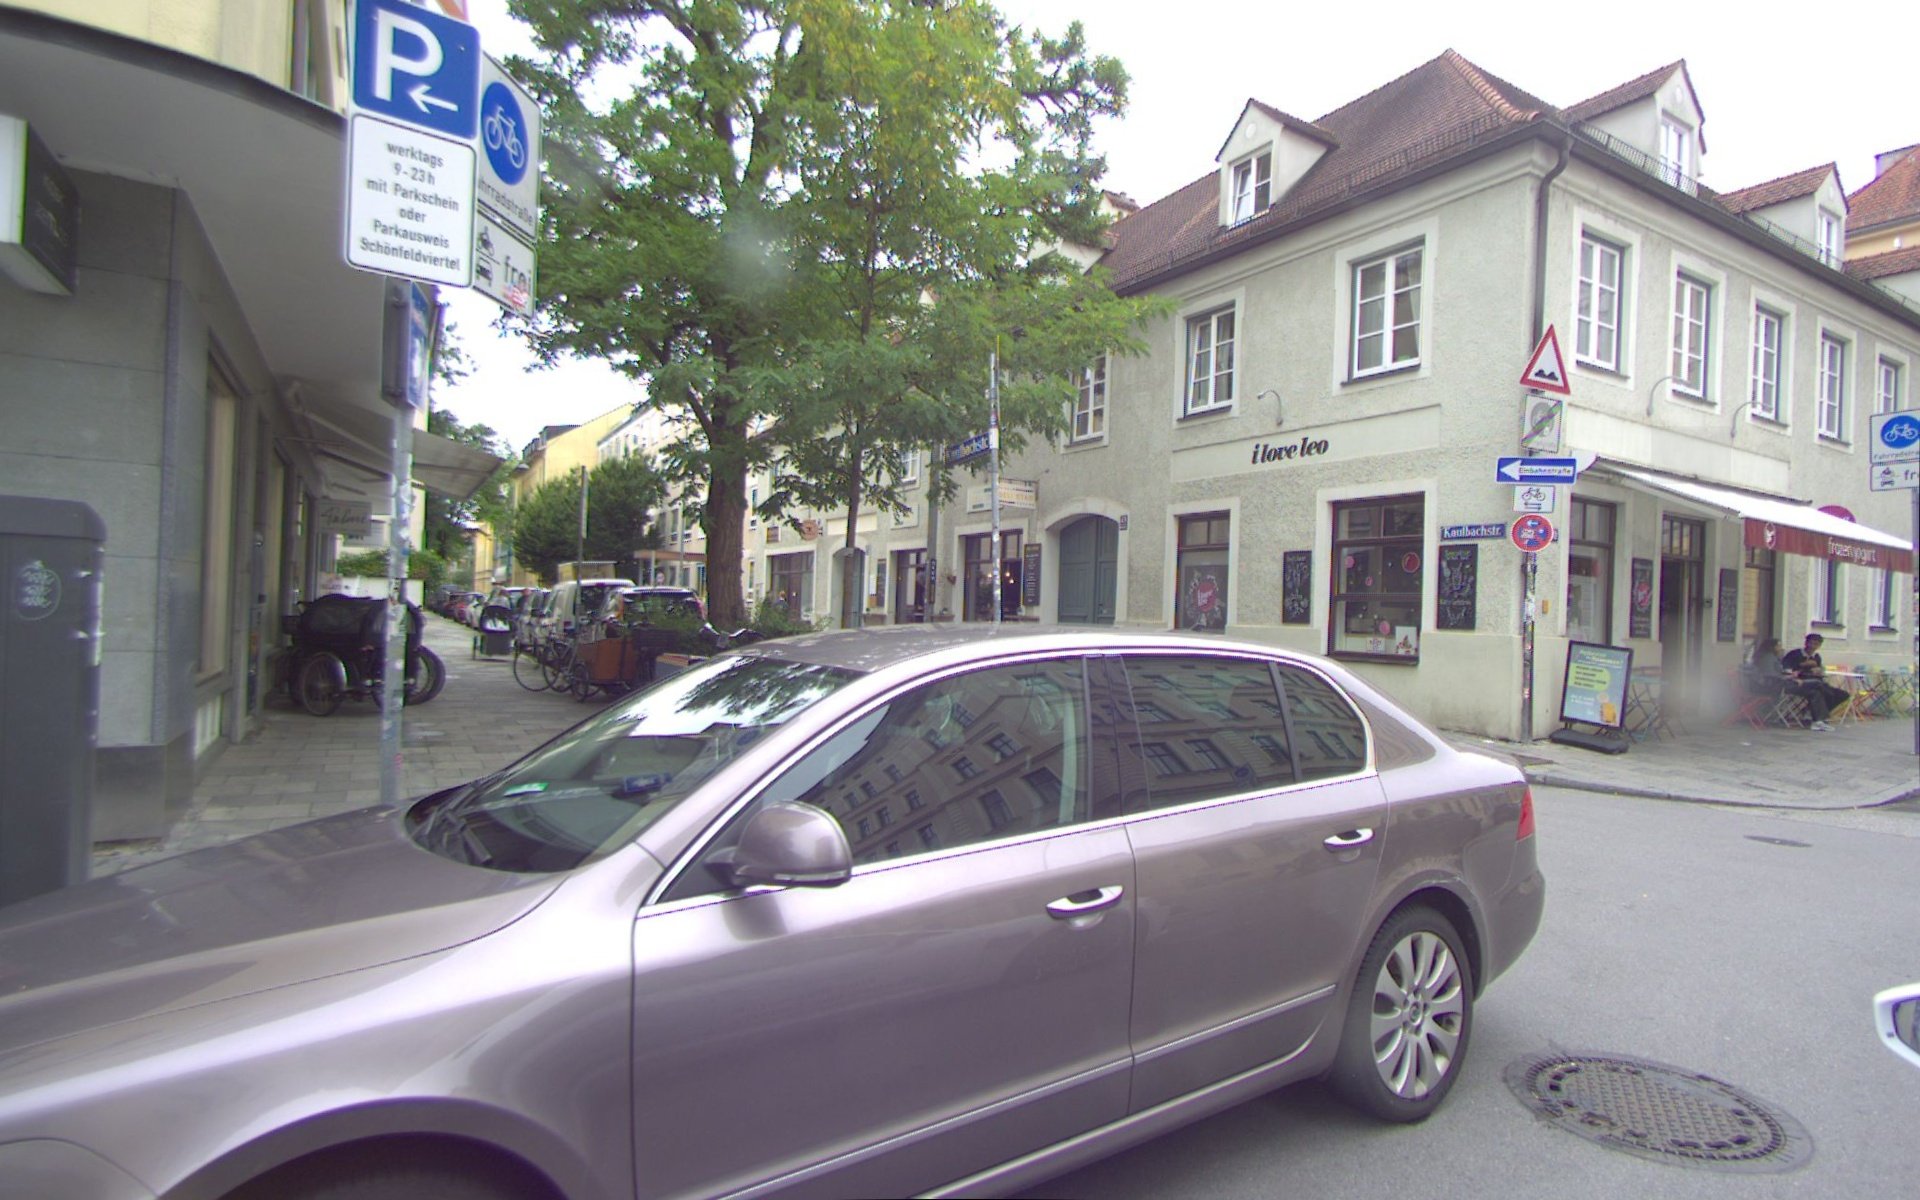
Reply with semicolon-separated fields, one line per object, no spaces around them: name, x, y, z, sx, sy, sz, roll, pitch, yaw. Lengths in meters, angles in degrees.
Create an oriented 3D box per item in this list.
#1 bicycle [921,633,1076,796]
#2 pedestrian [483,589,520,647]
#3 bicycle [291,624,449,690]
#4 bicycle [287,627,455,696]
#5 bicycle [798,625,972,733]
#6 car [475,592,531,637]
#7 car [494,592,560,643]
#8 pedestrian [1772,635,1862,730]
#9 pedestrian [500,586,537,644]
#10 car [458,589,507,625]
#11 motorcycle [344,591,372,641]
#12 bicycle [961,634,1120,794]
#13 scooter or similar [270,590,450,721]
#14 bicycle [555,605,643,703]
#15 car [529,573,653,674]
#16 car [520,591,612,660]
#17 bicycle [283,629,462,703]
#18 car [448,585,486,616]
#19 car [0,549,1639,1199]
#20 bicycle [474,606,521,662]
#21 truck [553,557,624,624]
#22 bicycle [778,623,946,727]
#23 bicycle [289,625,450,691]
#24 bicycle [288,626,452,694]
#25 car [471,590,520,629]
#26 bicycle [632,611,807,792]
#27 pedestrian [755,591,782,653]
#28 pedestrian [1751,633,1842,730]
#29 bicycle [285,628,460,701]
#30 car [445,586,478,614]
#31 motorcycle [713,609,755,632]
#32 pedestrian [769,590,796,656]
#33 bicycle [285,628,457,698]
bicycle;0.250;0.845;8.066;0.387;1.049;1.811;1;2;-27
pedestrian;-13.047;0.512;28.593;0.563;1.602;0.682;2;-1;21
bicycle;-7.573;0.747;12.949;1.704;0.790;0.290;4;-2;-33
bicycle;-7.111;0.757;12.179;1.704;0.790;0.290;4;-2;-33
bicycle;-0.713;0.777;9.888;1.699;0.978;0.377;3;1;-34
car;-17.968;0.523;39.431;1.753;1.617;4.137;-1;1;-28
car;-14.992;0.555;34.641;1.753;1.617;4.137;-1;1;-28
pedestrian;12.529;1.195;14.698;0.685;1.307;0.799;3;-1;-30
pedestrian;-12.448;0.428;28.343;0.563;1.618;0.682;2;-1;20
car;-23.421;0.317;49.204;1.971;1.617;4.137;-1;1;-28
motorcycle;-14.554;0.365;24.298;0.456;1.099;1.832;3;0;-28
bicycle;0.601;0.867;8.255;0.387;1.049;1.811;1;2;-27
scooter or similar;-6.118;0.548;10.284;1.180;1.217;1.000;2;-1;19
bicycle;-5.025;0.726;13.877;0.807;1.227;2.358;3;-3;-27
car;-7.919;0.423;21.293;1.883;1.870;4.430;-1;1;-28
car;-10.355;0.594;26.232;1.753;1.617;4.137;-1;1;-28
bicycle;-6.639;0.762;11.412;1.704;0.790;0.290;4;-2;-33
car;-27.662;0.024;56.308;1.753;1.617;4.137;-1;1;-28
car;-0.048;0.748;2.965;4.897;1.491;1.669;2;-2;-33
bicycle;-10.246;0.723;22.225;0.807;1.117;2.357;3;-1;-27
truck;-20.053;-0.466;53.972;2.549;3.236;6.688;3;-2;-28
bicycle;-0.979;0.773;10.302;1.699;0.978;0.377;3;1;-34
bicycle;-7.421;0.744;12.689;1.704;0.790;0.290;4;-2;-33
bicycle;-7.270;0.752;12.437;1.704;0.790;0.290;4;-2;-33
car;-20.601;0.405;44.481;1.753;1.617;4.137;-1;1;-28
bicycle;-2.221;0.789;8.883;0.807;1.227;2.832;3;0;-27
pedestrian;-5.437;0.623;28.545;0.525;1.752;0.552;3;-1;-32
pedestrian;11.919;1.154;14.323;0.685;1.307;0.799;3;-1;-30
bicycle;-6.790;0.762;11.667;1.704;0.790;0.290;4;-2;-33
car;-30.778;-0.028;61.961;1.753;1.617;4.137;-1;1;-28
motorcycle;-9.289;0.857;41.371;1.619;0.885;0.410;4;-2;-33
pedestrian;-4.941;0.642;27.990;0.525;1.810;0.487;3;-1;-32
bicycle;-6.953;0.760;11.923;1.704;0.790;0.290;4;-2;-33
